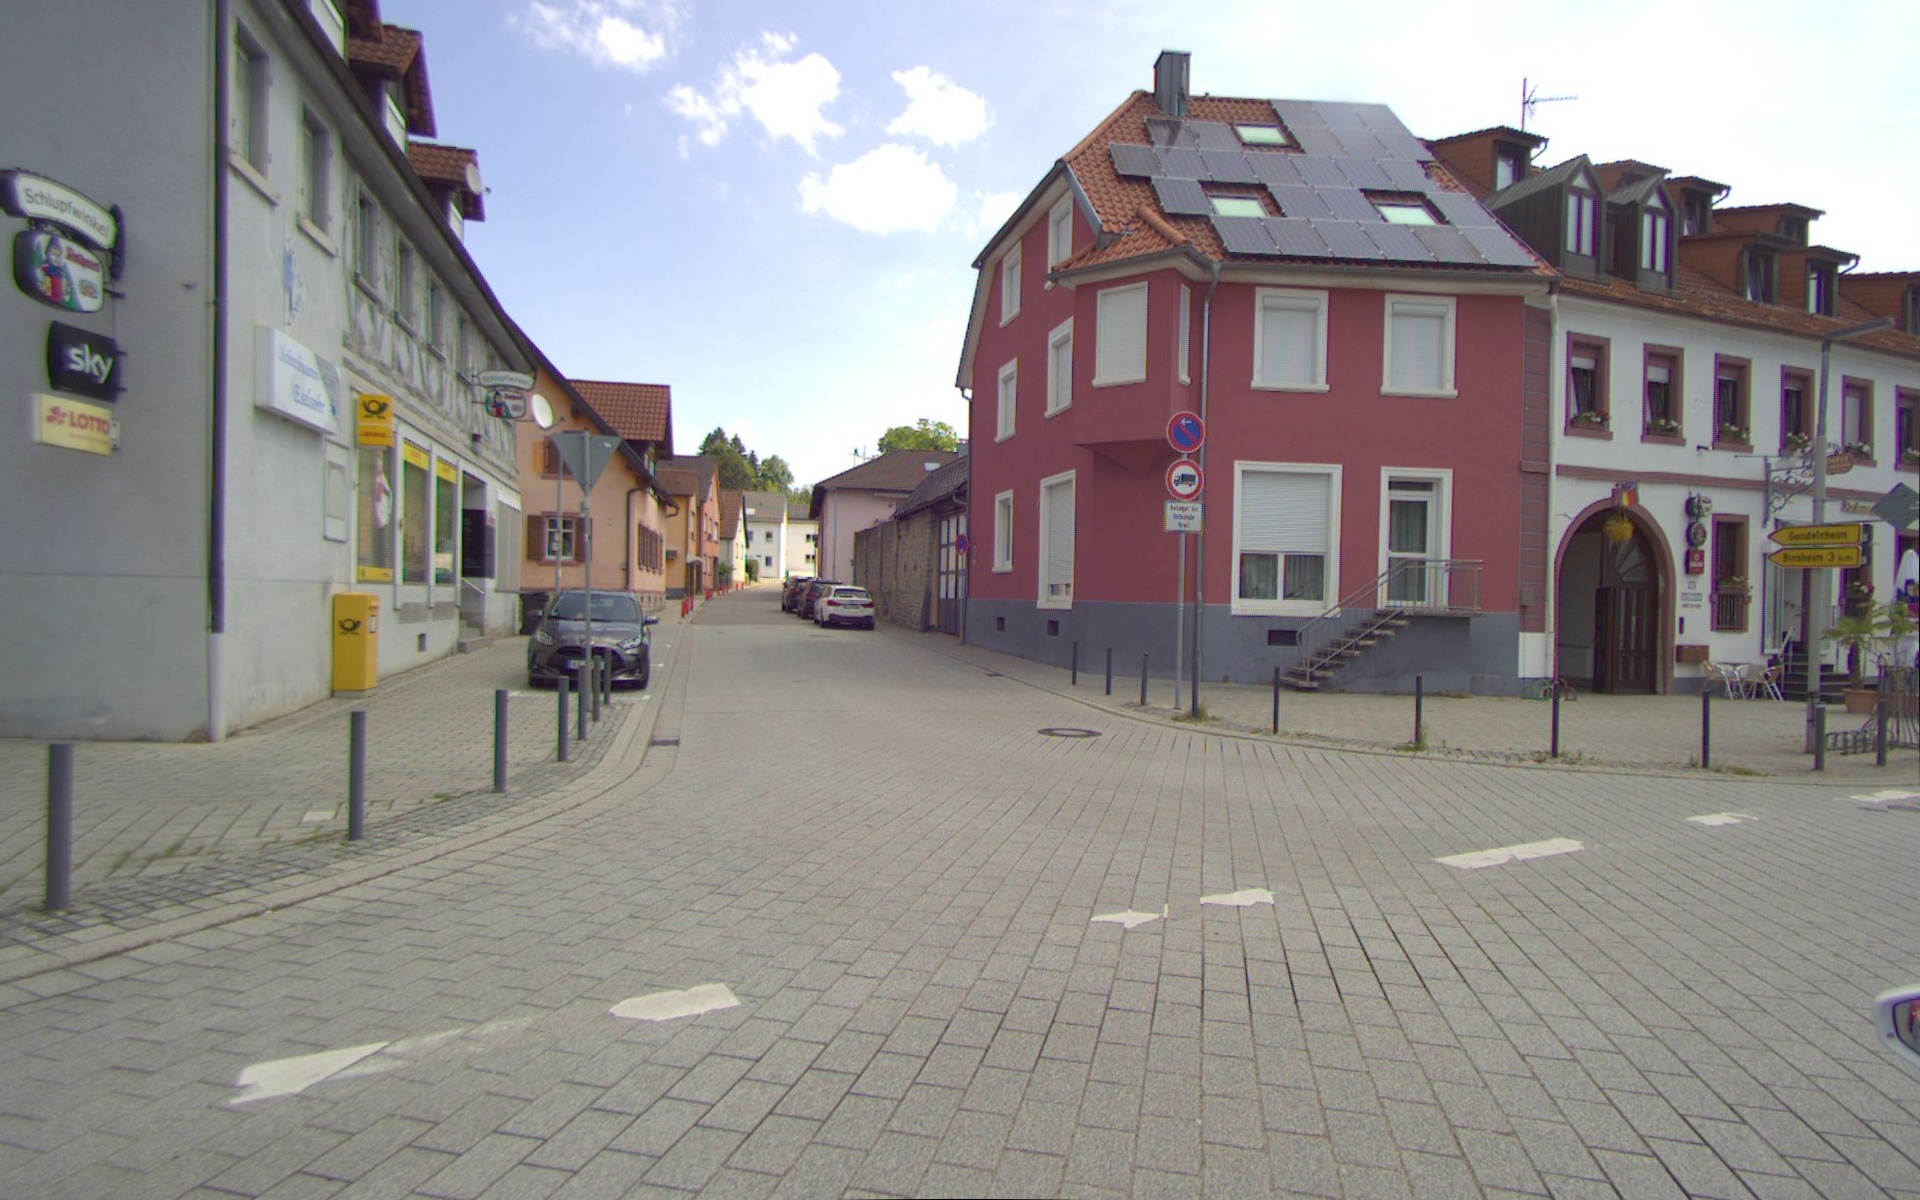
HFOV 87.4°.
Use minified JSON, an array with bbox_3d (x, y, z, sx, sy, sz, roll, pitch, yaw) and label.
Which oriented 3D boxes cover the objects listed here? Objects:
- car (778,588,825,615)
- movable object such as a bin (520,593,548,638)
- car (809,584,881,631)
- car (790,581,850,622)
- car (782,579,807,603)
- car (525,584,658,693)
[{"bbox_3d":[-7.398,0.072,46.573,1.573,1.168,3.985,1,0,-17],"label":"car"},{"bbox_3d":[-10.919,0.393,25.743,0.576,1.131,0.492,2,-1,-17],"label":"movable object such as a bin"},{"bbox_3d":[-4.100,0.247,35.457,1.954,1.538,3.454,1,0,-17],"label":"car"},{"bbox_3d":[-5.836,0.038,41.494,1.765,1.515,3.984,1,2,-18],"label":"car"},{"bbox_3d":[-12.472,-0.640,75.785,1.728,1.728,3.993,2,0,-10],"label":"car"},{"bbox_3d":[-5.841,0.554,16.313,1.745,1.538,3.940,1,0,-16],"label":"car"}]
